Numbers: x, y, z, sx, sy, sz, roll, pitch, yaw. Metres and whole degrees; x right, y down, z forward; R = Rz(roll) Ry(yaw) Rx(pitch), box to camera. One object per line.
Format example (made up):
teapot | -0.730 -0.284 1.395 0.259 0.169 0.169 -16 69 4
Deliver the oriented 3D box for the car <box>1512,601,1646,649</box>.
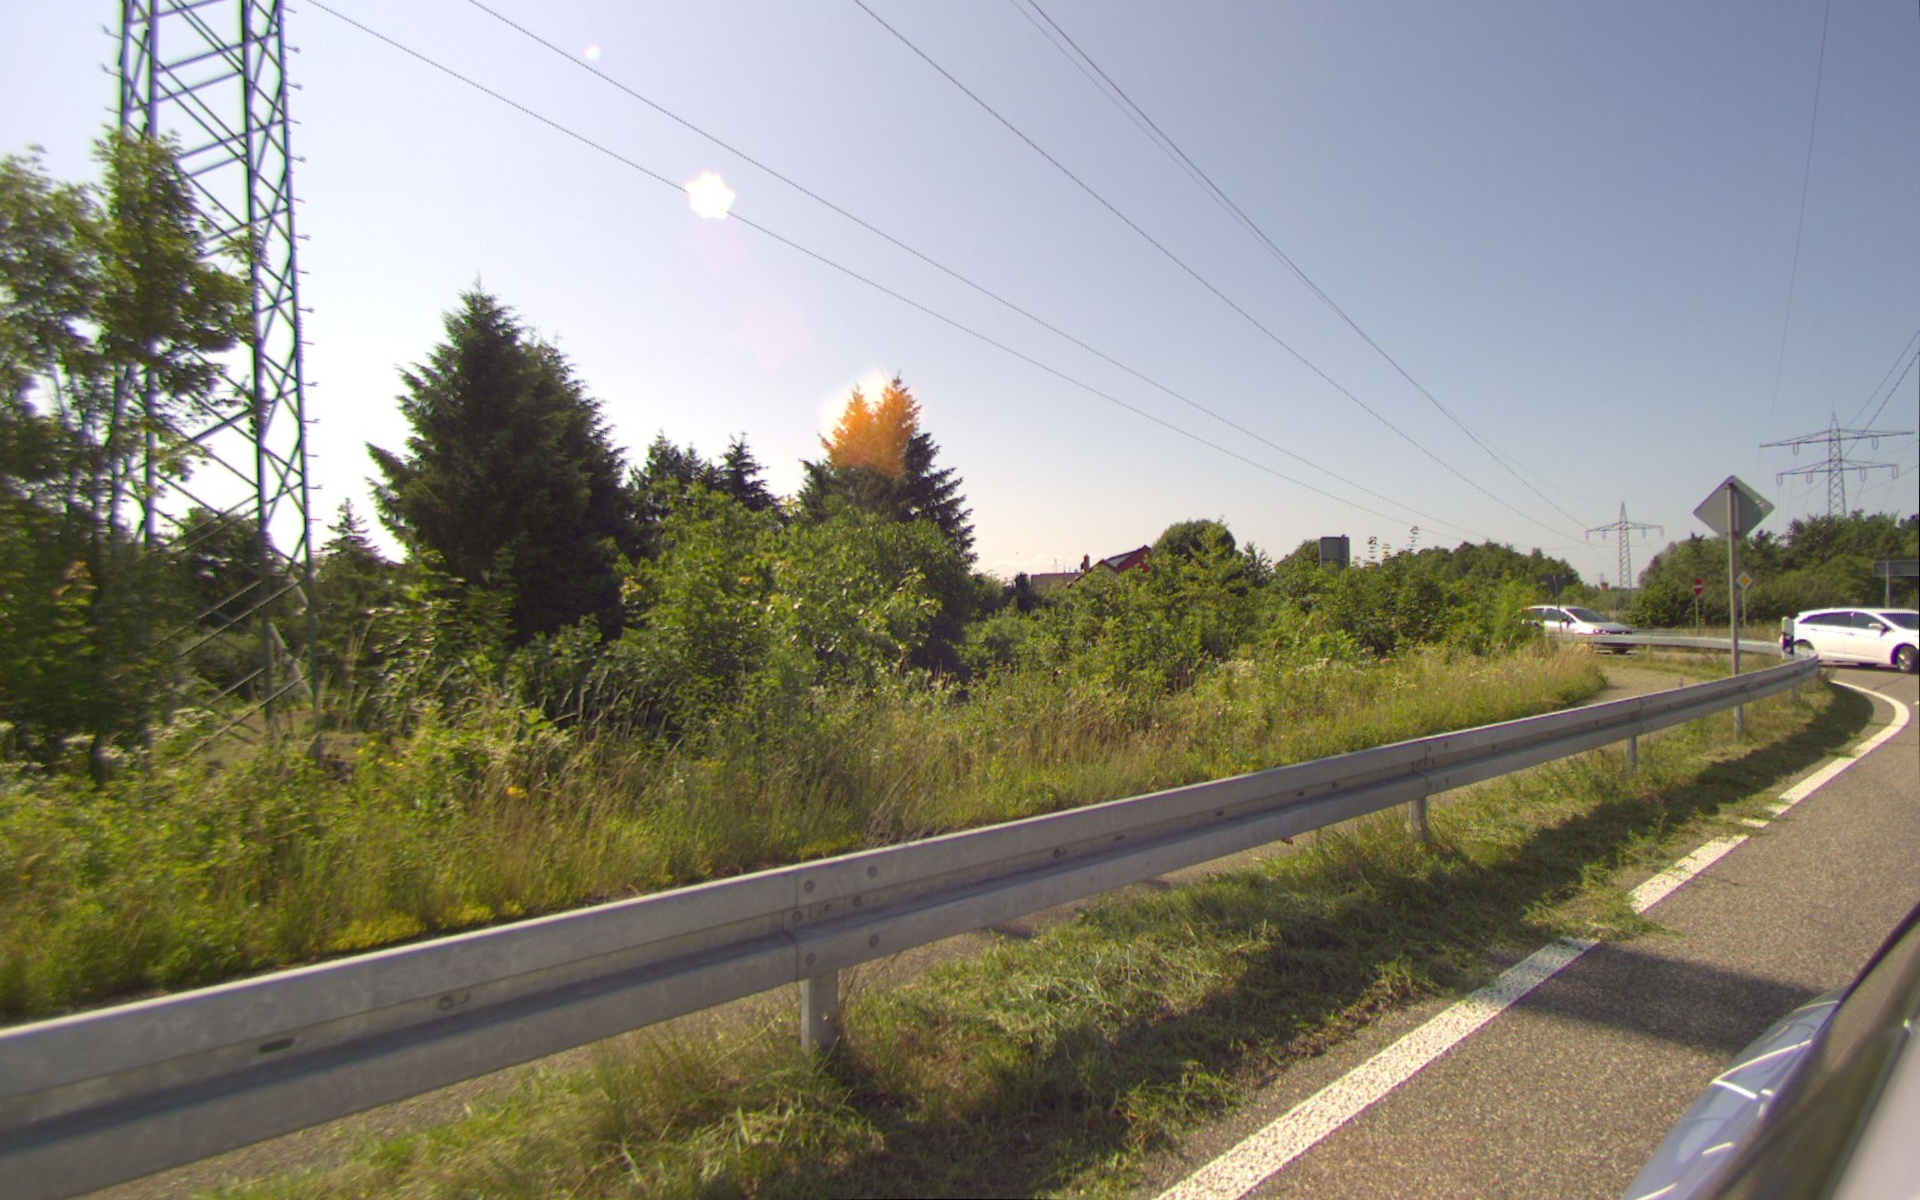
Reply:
car | 20.509 0.775 33.697 1.517 1.487 3.668 0 0 -20

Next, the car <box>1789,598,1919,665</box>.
car | 22.301 0.702 23.935 1.652 1.499 4.473 0 0 -1
